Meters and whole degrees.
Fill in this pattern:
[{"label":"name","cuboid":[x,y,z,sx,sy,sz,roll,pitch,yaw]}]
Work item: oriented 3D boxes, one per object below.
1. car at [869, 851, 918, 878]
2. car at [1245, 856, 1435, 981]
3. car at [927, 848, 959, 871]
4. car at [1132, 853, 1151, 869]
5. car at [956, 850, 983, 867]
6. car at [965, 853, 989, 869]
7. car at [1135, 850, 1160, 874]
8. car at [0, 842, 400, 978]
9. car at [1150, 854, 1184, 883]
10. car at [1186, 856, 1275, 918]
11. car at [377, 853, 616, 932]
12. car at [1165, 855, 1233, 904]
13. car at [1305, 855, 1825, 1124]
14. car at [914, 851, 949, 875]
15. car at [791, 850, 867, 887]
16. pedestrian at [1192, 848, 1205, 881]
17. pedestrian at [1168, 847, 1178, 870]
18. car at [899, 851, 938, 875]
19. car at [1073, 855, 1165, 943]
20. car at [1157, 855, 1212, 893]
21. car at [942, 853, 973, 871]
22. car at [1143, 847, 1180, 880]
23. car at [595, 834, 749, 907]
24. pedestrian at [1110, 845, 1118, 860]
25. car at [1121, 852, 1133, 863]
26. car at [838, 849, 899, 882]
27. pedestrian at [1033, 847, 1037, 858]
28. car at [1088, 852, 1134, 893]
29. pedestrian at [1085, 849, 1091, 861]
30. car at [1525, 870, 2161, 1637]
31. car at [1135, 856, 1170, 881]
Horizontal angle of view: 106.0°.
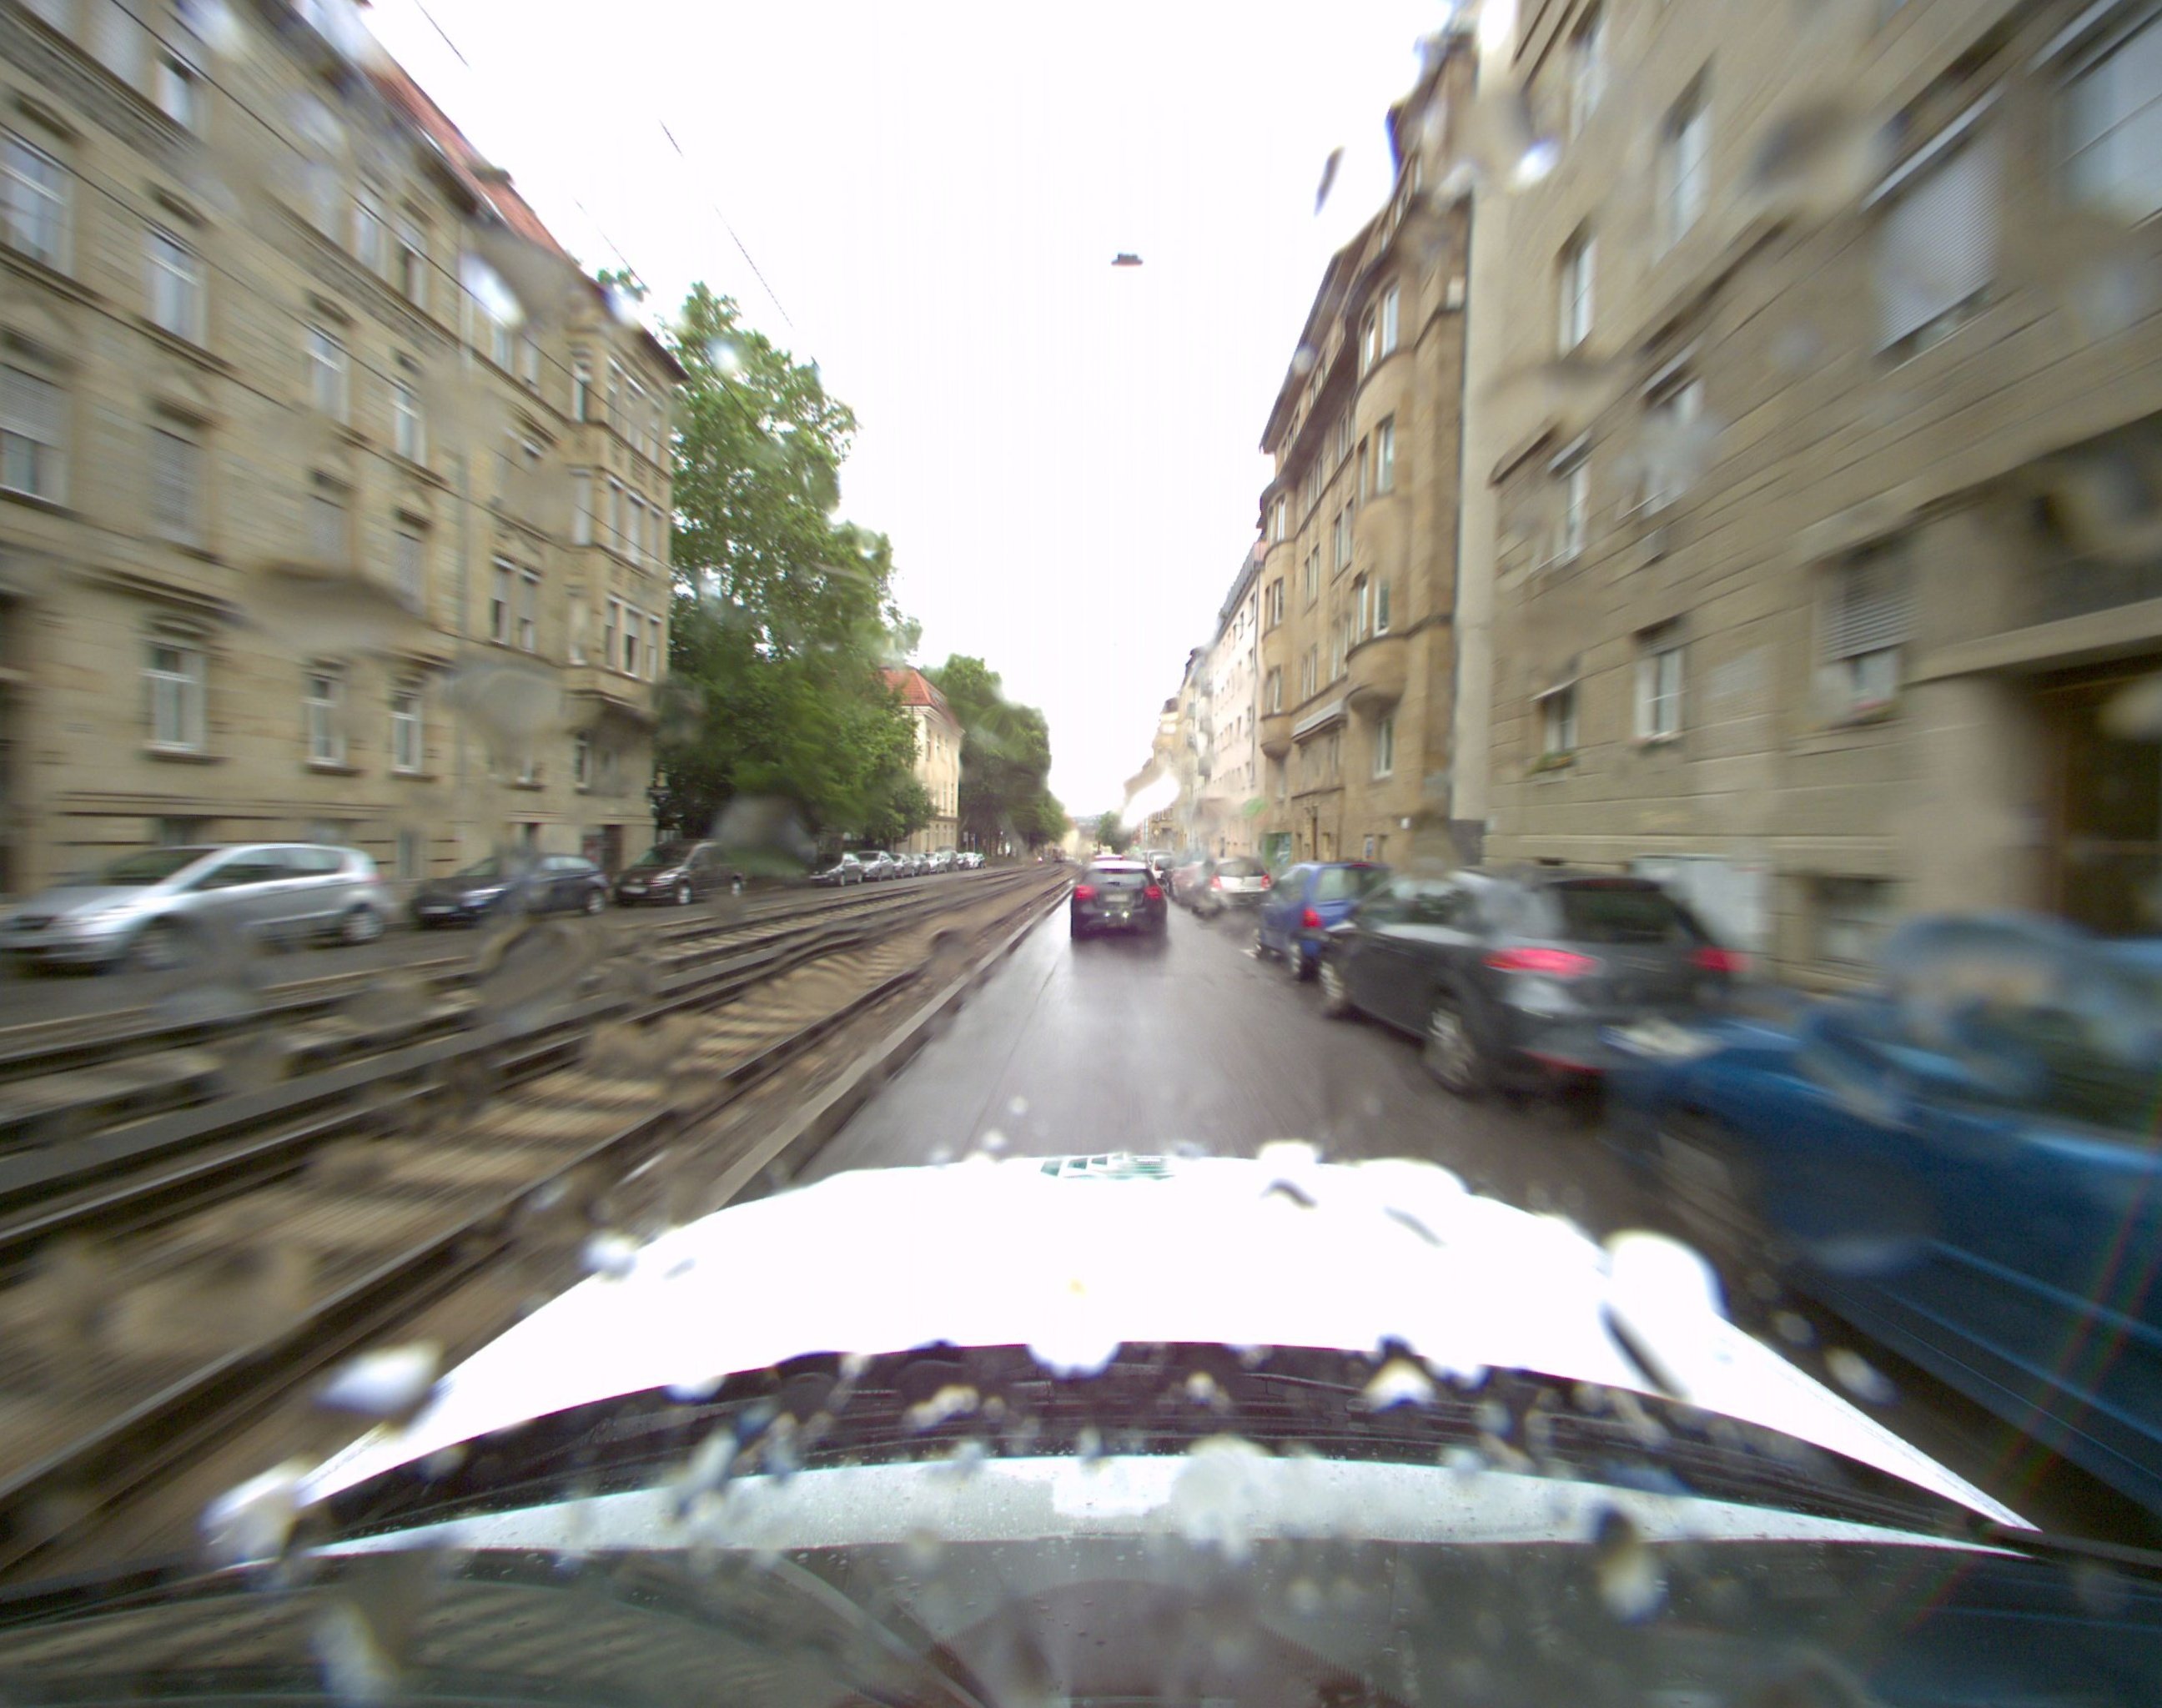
[{"label":"car","cuboid":[-10.638,0.558,46.520,1.748,1.413,4.154,-2,0,1]},{"label":"car","cuboid":[3.331,0.748,11.093,1.538,1.415,3.446,0,0,1]},{"label":"car","cuboid":[-10.152,0.379,60.181,1.571,1.643,4.073,-2,0,1]},{"label":"car","cuboid":[5.725,0.660,77.323,1.686,1.529,4.002,1,0,2]},{"label":"car","cuboid":[-9.697,0.396,71.014,1.494,1.391,3.991,-2,0,3]},{"label":"car","cuboid":[-9.670,0.644,75.617,1.608,1.429,3.854,0,0,2]},{"label":"car","cuboid":[4.987,0.543,61.830,1.820,1.750,4.471,0,0,4]},{"label":"car","cuboid":[-11.888,0.636,11.188,1.688,1.524,3.857,-1,0,3]},{"label":"car","cuboid":[4.481,0.735,42.747,1.564,1.462,3.602,0,0,2]},{"label":"car","cuboid":[3.716,0.768,20.748,1.585,1.434,3.683,0,0,0]},{"label":"car","cuboid":[-11.713,0.688,16.761,1.756,1.398,4.270,-1,0,1]},{"label":"car","cuboid":[3.729,0.754,26.275,1.662,1.434,3.957,-1,0,1]},{"label":"car","cuboid":[3.216,0.746,6.502,1.781,1.462,4.084,0,0,1]},{"label":"car","cuboid":[-10.265,0.586,56.066,1.534,1.505,4.155,-2,0,1]},{"label":"car","cuboid":[-10.962,0.593,35.743,1.843,1.464,4.550,-2,0,0]},{"label":"pedestrian","cuboid":[6.450,0.580,44.742,0.605,1.763,0.689,-1,0,1]},{"label":"pedestrian","cuboid":[7.568,0.371,66.876,0.743,1.833,1.040,-2,0,3]},{"label":"car","cuboid":[-10.191,0.529,51.220,1.534,1.413,3.954,-2,0,1]},{"label":"car","cuboid":[0.712,0.782,15.884,1.574,1.505,3.576,0,0,2]},{"label":"car","cuboid":[4.054,0.750,32.456,1.664,1.410,4.312,0,0,0]},{"label":"car","cuboid":[-10.058,0.650,66.587,1.668,1.413,4.013,-2,0,3]},{"label":"car","cuboid":[4.598,0.512,47.086,1.784,1.765,4.213,-1,0,1]},{"label":"car","cuboid":[-11.468,0.429,23.283,1.794,1.846,4.821,-1,0,2]},{"label":"pedestrian","cuboid":[4.773,-0.215,117.400,1.135,1.998,1.171,-1,0,-2]},{"label":"car","cuboid":[7.242,0.554,129.460,1.820,1.618,3.866,-1,0,2]},{"label":"car","cuboid":[-10.706,0.549,41.317,1.748,1.536,4.544,-2,0,1]},{"label":"pedestrian","cuboid":[-7.590,-0.180,133.118,0.532,1.754,0.607,2,0,2]},{"label":"car","cuboid":[1.250,0.707,33.609,1.778,1.581,4.002,0,0,2]},{"label":"pedestrian","cuboid":[0.950,0.161,112.376,0.802,1.633,0.893,-1,0,2]},{"label":"car","cuboid":[2.886,0.773,1.782,1.701,1.398,4.019,0,0,1]},{"label":"car","cuboid":[4.535,0.883,52.088,1.865,1.455,4.904,0,0,1]}]
